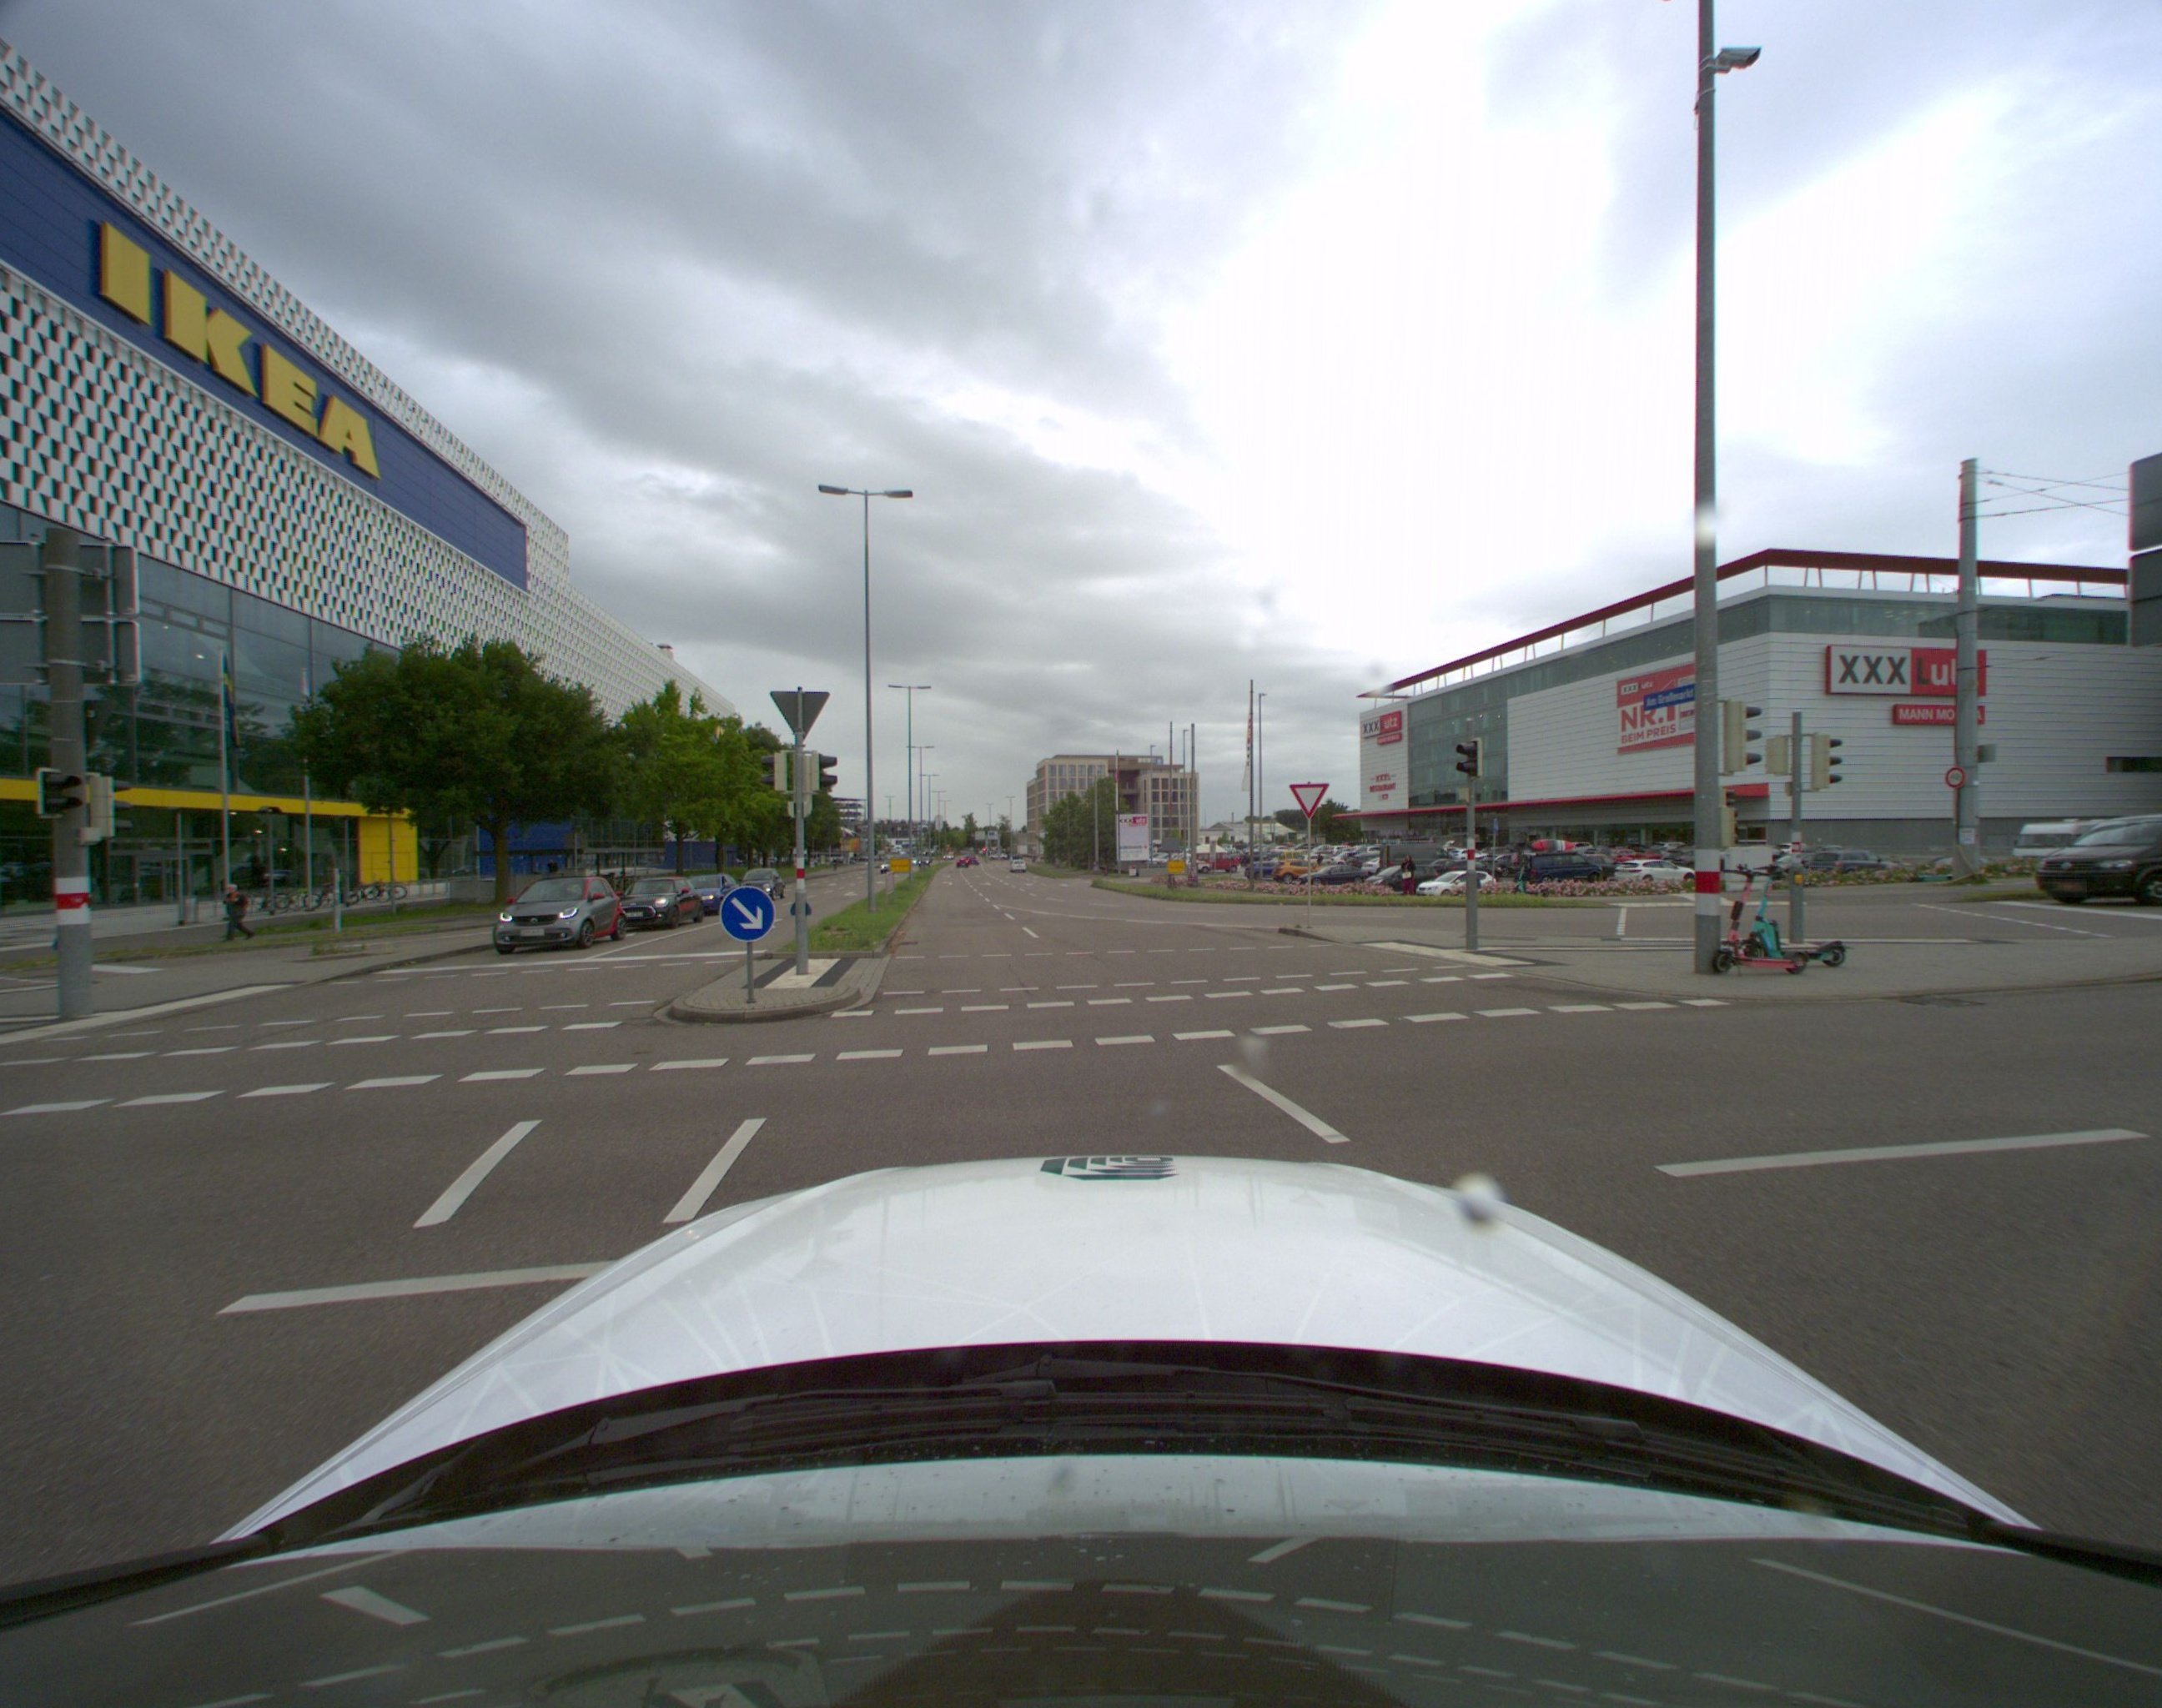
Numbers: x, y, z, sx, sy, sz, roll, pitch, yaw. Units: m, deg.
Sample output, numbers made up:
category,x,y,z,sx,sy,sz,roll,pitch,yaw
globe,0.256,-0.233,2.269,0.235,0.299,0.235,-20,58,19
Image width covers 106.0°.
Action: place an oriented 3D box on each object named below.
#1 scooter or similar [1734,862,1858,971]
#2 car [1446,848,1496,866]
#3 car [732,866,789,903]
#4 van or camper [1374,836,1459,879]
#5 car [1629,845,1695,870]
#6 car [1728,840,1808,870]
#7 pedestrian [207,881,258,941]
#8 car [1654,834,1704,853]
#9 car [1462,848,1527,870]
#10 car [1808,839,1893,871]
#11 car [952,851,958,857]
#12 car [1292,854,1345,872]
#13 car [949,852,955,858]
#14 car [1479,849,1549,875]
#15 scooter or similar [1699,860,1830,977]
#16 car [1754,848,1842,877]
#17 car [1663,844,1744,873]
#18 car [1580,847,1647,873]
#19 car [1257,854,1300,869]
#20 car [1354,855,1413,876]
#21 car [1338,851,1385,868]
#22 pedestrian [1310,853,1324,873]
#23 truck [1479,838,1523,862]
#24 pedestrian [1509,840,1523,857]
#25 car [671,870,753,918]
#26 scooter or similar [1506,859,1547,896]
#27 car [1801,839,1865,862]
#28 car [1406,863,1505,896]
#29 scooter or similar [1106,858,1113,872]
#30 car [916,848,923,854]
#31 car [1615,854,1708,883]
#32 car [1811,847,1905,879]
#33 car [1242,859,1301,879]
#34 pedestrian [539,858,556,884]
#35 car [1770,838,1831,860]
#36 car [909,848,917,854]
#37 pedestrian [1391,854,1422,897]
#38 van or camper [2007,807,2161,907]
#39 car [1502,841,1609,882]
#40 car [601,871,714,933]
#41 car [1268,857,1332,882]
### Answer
category,x,y,z,sx,sy,sz,roll,pitch,yaw
scooter or similar,8.595,0.746,9.811,1.107,1.256,0.321,-2,-2,4
car,37.567,0.247,78.483,3.988,1.655,1.828,0,0,-11
car,-15.004,1.379,38.292,1.602,1.497,4.024,-3,0,-10
van or camper,24.252,0.219,59.026,5.364,2.983,1.990,-1,0,-1
car,44.929,0.290,63.036,3.983,1.818,1.816,-2,0,-7
car,46.649,0.052,55.357,3.983,1.929,1.945,-1,0,-7
pedestrian,-24.016,1.590,23.065,0.633,1.642,0.806,-1,-2,-12
car,54.427,-0.978,74.122,3.602,1.560,1.646,-2,2,-8
car,30.516,0.363,60.169,3.985,1.555,1.849,0,0,-9
car,48.236,0.038,51.088,3.991,1.951,1.991,-1,0,-13
car,-34.103,-0.001,220.580,1.599,1.453,3.316,0,2,-8
car,22.050,0.802,75.683,4.408,1.583,1.830,0,2,-8
car,-33.612,0.345,212.446,1.599,1.453,3.316,0,2,-8
car,30.528,0.566,57.477,3.984,1.670,1.880,-1,0,-8
scooter or similar,7.697,0.720,9.200,1.010,1.256,0.465,-2,-2,4
car,41.524,0.484,47.197,3.991,1.516,1.825,-1,0,-13
car,41.497,0.289,54.363,4.206,1.780,1.860,-2,1,-7
car,40.375,0.464,61.788,3.985,1.861,1.828,-2,0,-9
car,20.771,0.732,85.677,3.987,1.534,1.882,0,0,-10
car,23.717,0.911,63.962,3.984,1.552,1.859,-1,0,-8
car,27.331,0.526,79.360,3.984,1.634,1.782,0,0,-8
pedestrian,21.357,0.793,73.793,0.939,1.719,0.882,-1,2,-11
truck,42.136,-0.367,81.705,3.569,2.386,1.733,0,0,-11
pedestrian,48.984,-0.680,91.723,0.953,1.869,0.961,-2,3,-32
car,-13.088,1.359,29.147,1.602,1.444,4.129,-3,0,-10
scooter or similar,15.207,0.793,27.815,1.150,1.233,0.348,-1,-2,43
car,56.076,-0.308,60.750,3.602,1.560,1.646,-2,2,-8
car,18.241,1.218,39.720,4.108,1.445,1.869,-1,2,-11
scooter or similar,2.929,1.106,84.792,0.648,1.421,1.818,-1,0,0
car,-49.704,-0.906,250.541,1.772,1.705,3.913,0,2,-3
car,32.268,0.797,45.315,4.194,1.476,1.741,-2,0,-8
car,42.645,0.463,44.720,3.990,1.665,1.878,-1,1,-12
car,14.515,1.118,62.221,3.985,1.455,1.809,-1,0,-9
pedestrian,-36.869,1.189,56.307,0.677,1.745,0.806,0,1,-10
car,56.098,-0.426,63.531,3.602,1.560,1.646,-2,2,-8
car,-51.675,-0.827,250.099,1.772,1.705,3.913,0,2,-3
pedestrian,12.447,0.812,31.136,0.784,1.597,0.711,-1,-2,-22
van or camper,23.722,0.000,17.551,4.713,2.014,2.127,-3,-2,6
car,27.292,0.430,46.923,5.026,2.165,2.119,-1,0,-5
car,-11.840,1.276,23.049,1.662,1.503,4.050,-1,0,-11
car,15.429,1.057,57.414,3.980,1.643,1.812,-1,0,-5
